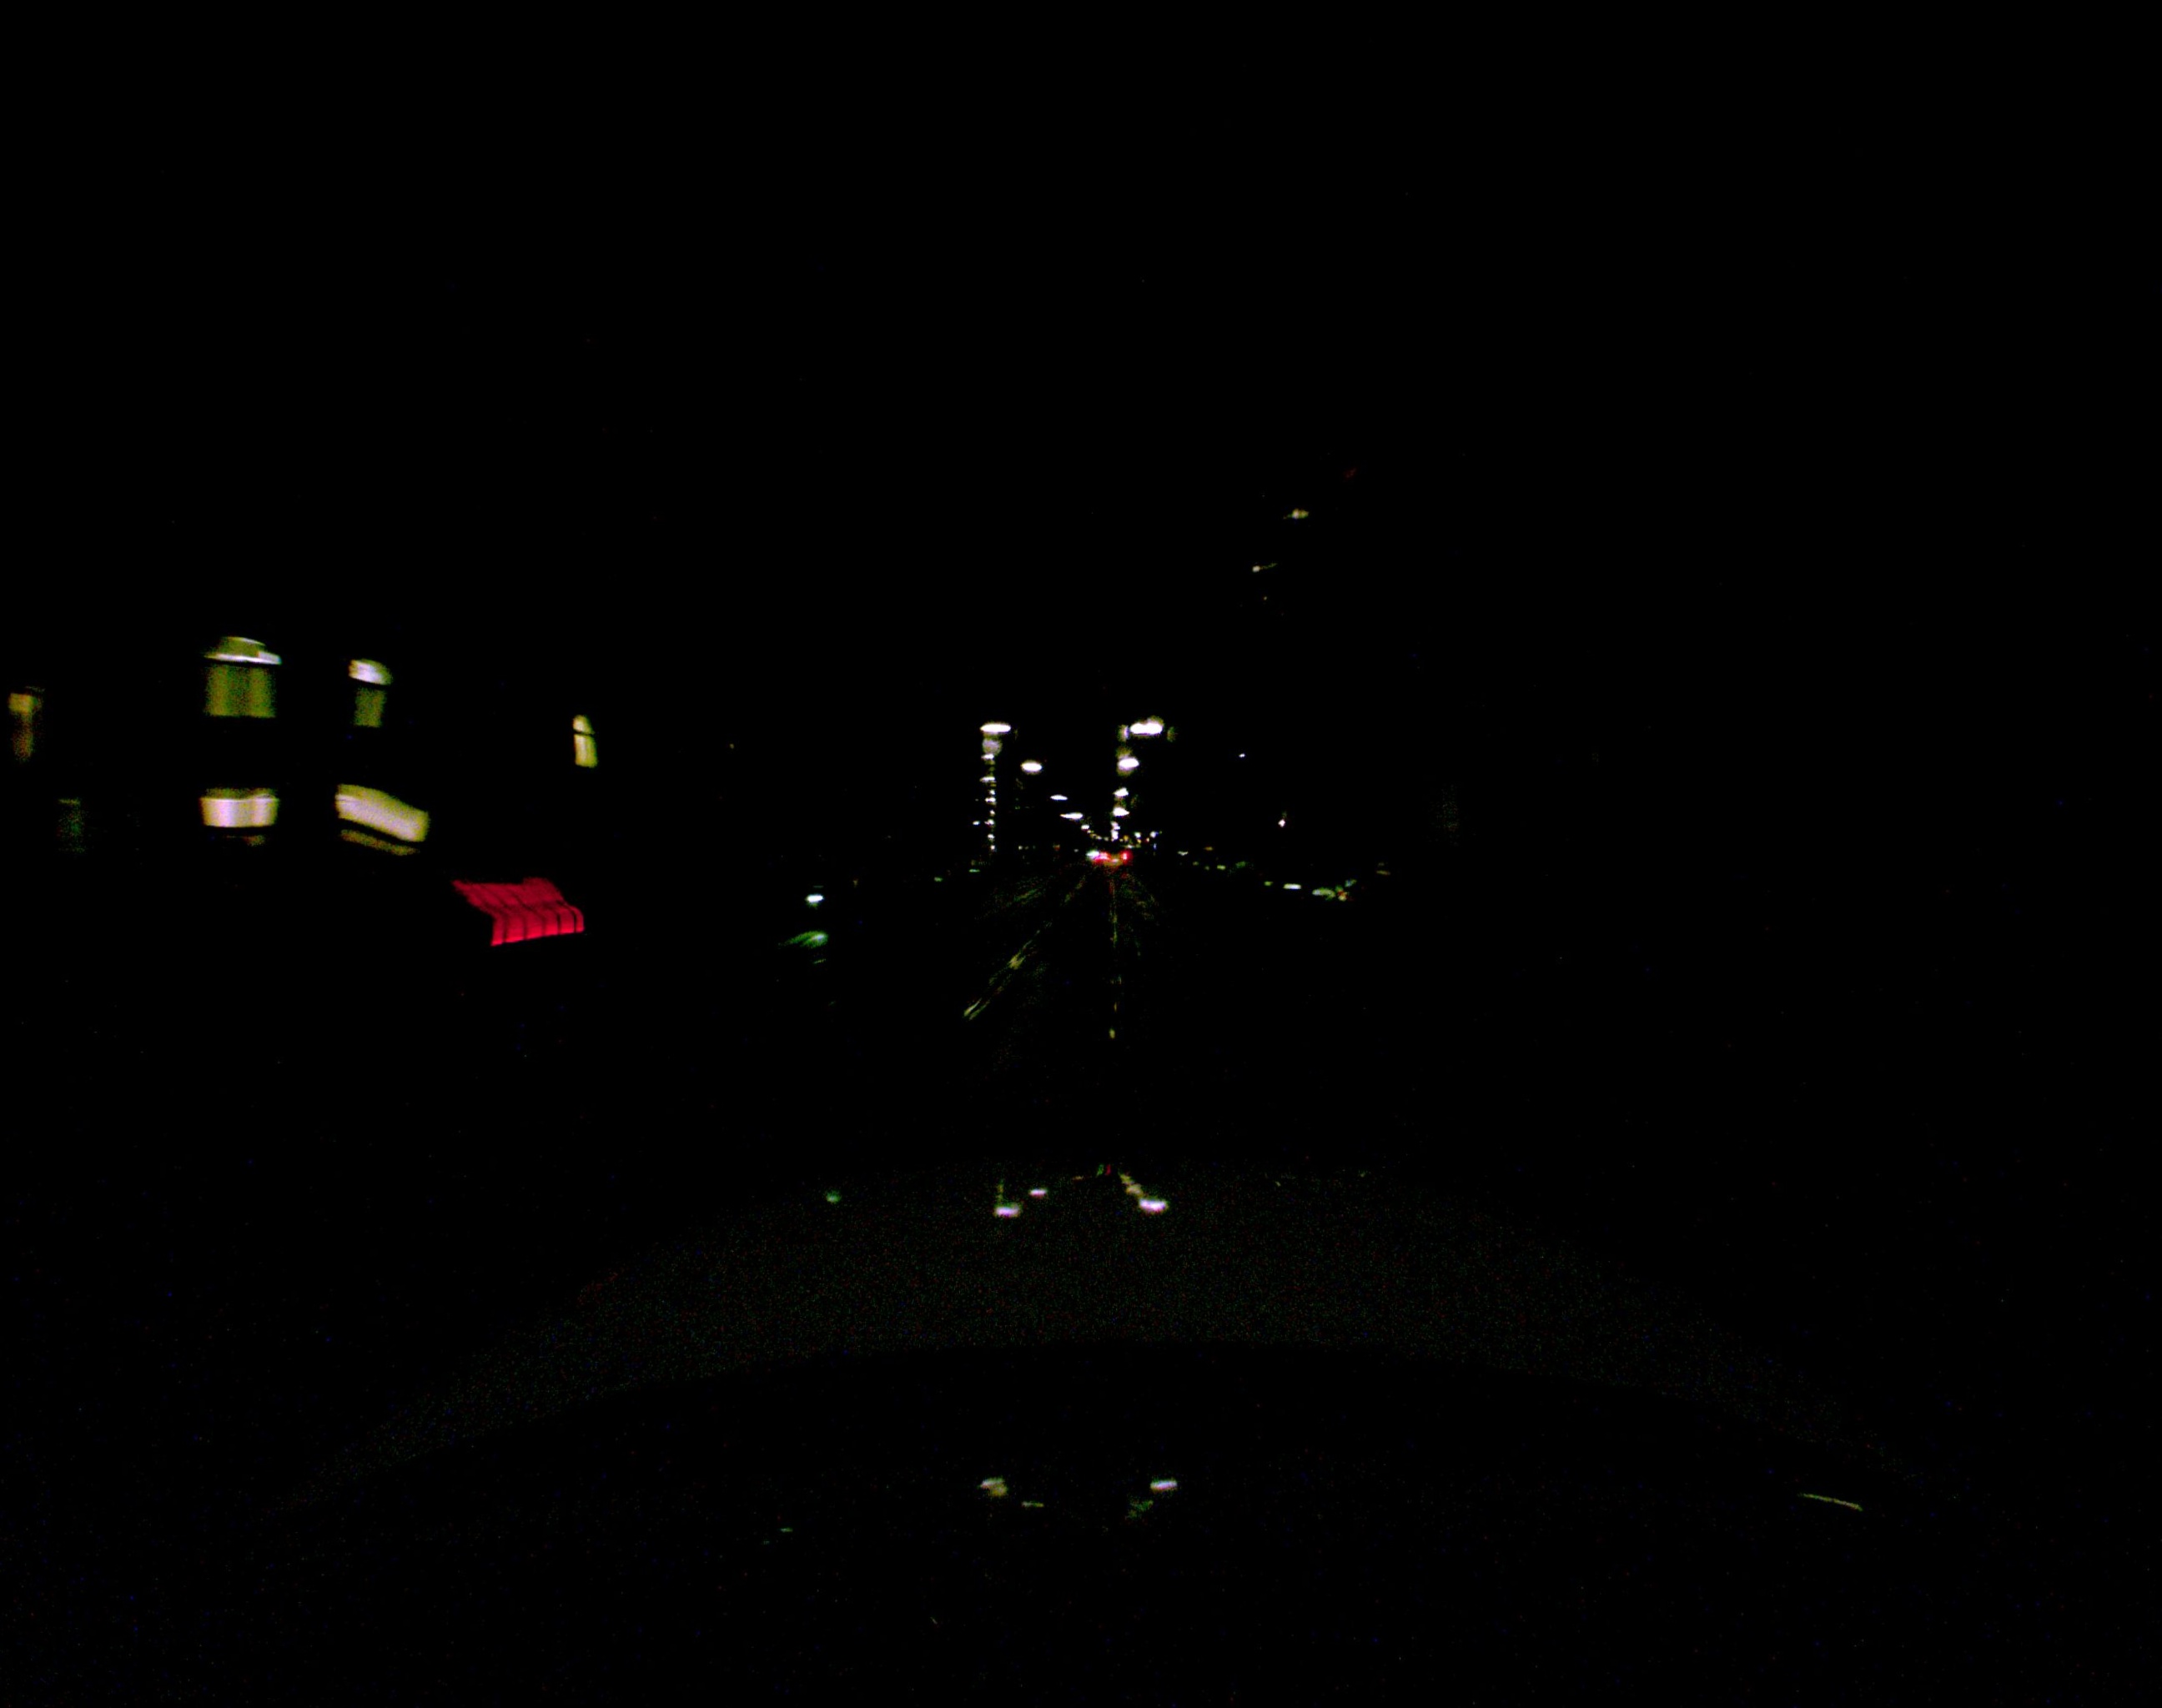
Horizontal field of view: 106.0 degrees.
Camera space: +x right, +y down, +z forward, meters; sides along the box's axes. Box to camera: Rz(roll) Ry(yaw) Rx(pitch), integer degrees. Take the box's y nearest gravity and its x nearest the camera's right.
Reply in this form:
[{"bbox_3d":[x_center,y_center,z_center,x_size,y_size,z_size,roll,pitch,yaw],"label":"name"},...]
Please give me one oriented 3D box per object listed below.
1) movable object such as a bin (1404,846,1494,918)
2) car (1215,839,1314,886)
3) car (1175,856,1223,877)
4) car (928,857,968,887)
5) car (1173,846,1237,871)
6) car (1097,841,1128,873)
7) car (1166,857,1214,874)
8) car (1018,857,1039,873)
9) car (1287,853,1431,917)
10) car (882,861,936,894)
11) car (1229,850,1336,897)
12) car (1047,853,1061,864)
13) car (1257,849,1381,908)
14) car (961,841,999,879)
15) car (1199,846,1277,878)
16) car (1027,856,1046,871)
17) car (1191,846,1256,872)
[{"bbox_3d":[7.611,0.557,16.879,1.352,1.407,1.020,-1,0,-18],"label":"movable object such as a bin"},{"bbox_3d":[7.790,0.342,34.436,4.195,1.839,1.940,1,0,-40],"label":"car"},{"bbox_3d":[9.641,0.995,66.525,2.030,1.623,3.851,0,0,43],"label":"car"},{"bbox_3d":[-7.327,0.969,45.238,1.636,1.507,3.618,0,2,-1],"label":"car"},{"bbox_3d":[7.714,0.255,50.393,3.908,1.533,1.800,0,0,-40],"label":"car"},{"bbox_3d":[2.443,0.244,64.444,2.209,2.441,5.383,0,0,0],"label":"car"},{"bbox_3d":[9.734,1.032,72.646,4.271,1.454,1.927,1,0,-43],"label":"car"},{"bbox_3d":[-5.894,1.240,91.584,2.102,1.765,4.963,1,-1,-1],"label":"car"},{"bbox_3d":[7.053,0.721,20.495,3.810,1.458,1.749,1,0,-41],"label":"car"},{"bbox_3d":[-7.741,1.030,37.005,1.604,1.428,3.808,0,0,0],"label":"car"},{"bbox_3d":[6.679,0.614,26.814,3.856,1.438,1.580,1,0,-43],"label":"car"},{"bbox_3d":[-4.274,0.789,131.090,2.015,1.761,4.001,1,-1,1],"label":"car"},{"bbox_3d":[6.903,0.649,23.407,1.785,1.488,3.879,-1,0,44],"label":"car"},{"bbox_3d":[-7.043,0.389,57.367,2.019,2.499,5.606,1,0,-1],"label":"car"},{"bbox_3d":[7.890,0.374,40.738,1.671,1.404,4.485,0,2,43],"label":"car"},{"bbox_3d":[-5.466,1.153,99.968,1.992,1.785,4.001,1,-1,2],"label":"car"},{"bbox_3d":[8.371,0.292,47.546,3.877,1.433,1.799,1,0,-44],"label":"car"}]
